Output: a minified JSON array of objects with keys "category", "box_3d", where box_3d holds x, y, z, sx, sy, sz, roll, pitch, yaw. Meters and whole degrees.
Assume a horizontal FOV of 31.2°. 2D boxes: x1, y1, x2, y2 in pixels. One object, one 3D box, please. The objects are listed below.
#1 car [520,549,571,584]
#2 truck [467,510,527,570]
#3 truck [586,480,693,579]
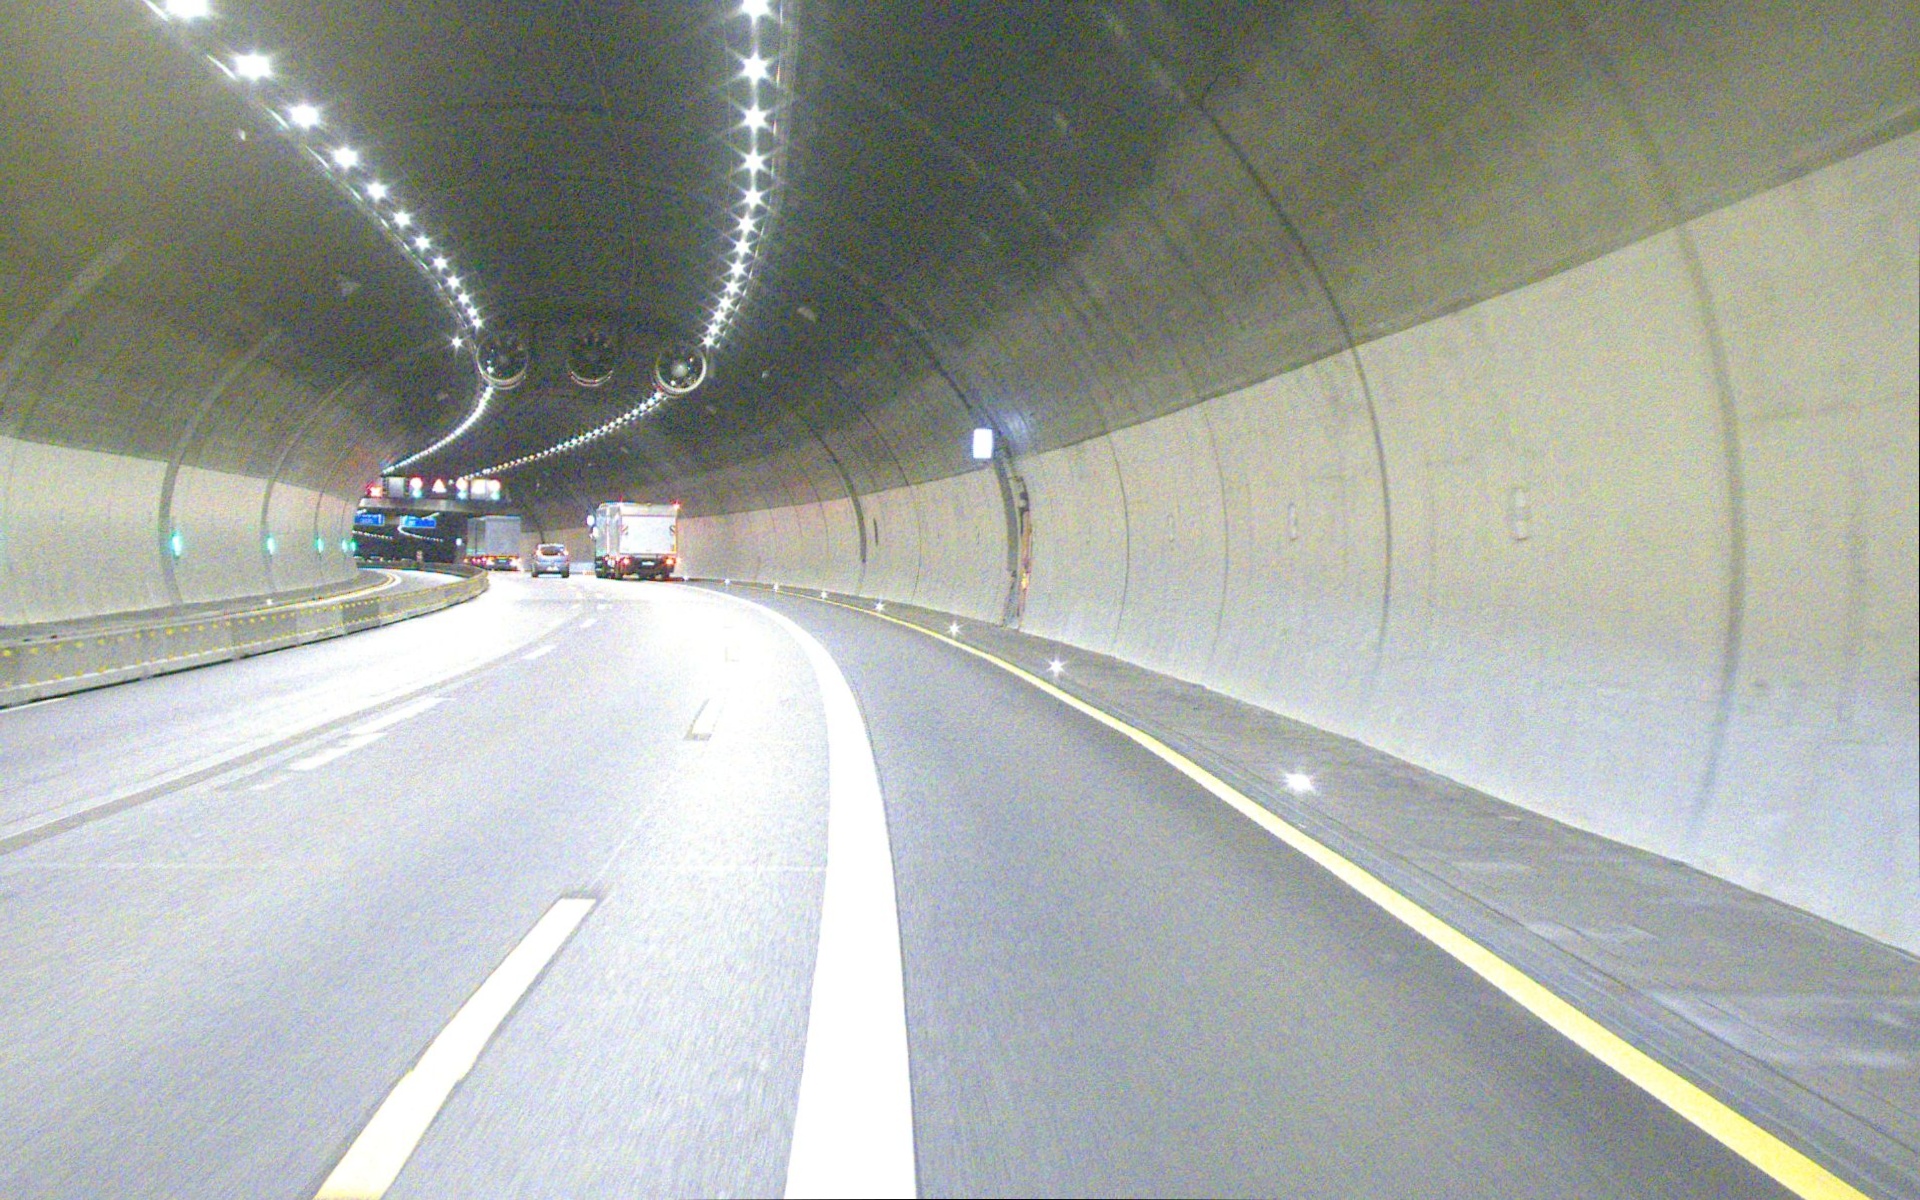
[{"category":"car","box_3d":[-20.092,-1.634,166.518,1.993,1.576,4.001,2,1,-13]},{"category":"truck","box_3d":[-34.305,-4.453,254.525,3.473,4.301,10.955,1,1,-12]},{"category":"truck","box_3d":[-14.735,-3.212,157.136,3.473,4.301,10.955,1,1,-12]}]
